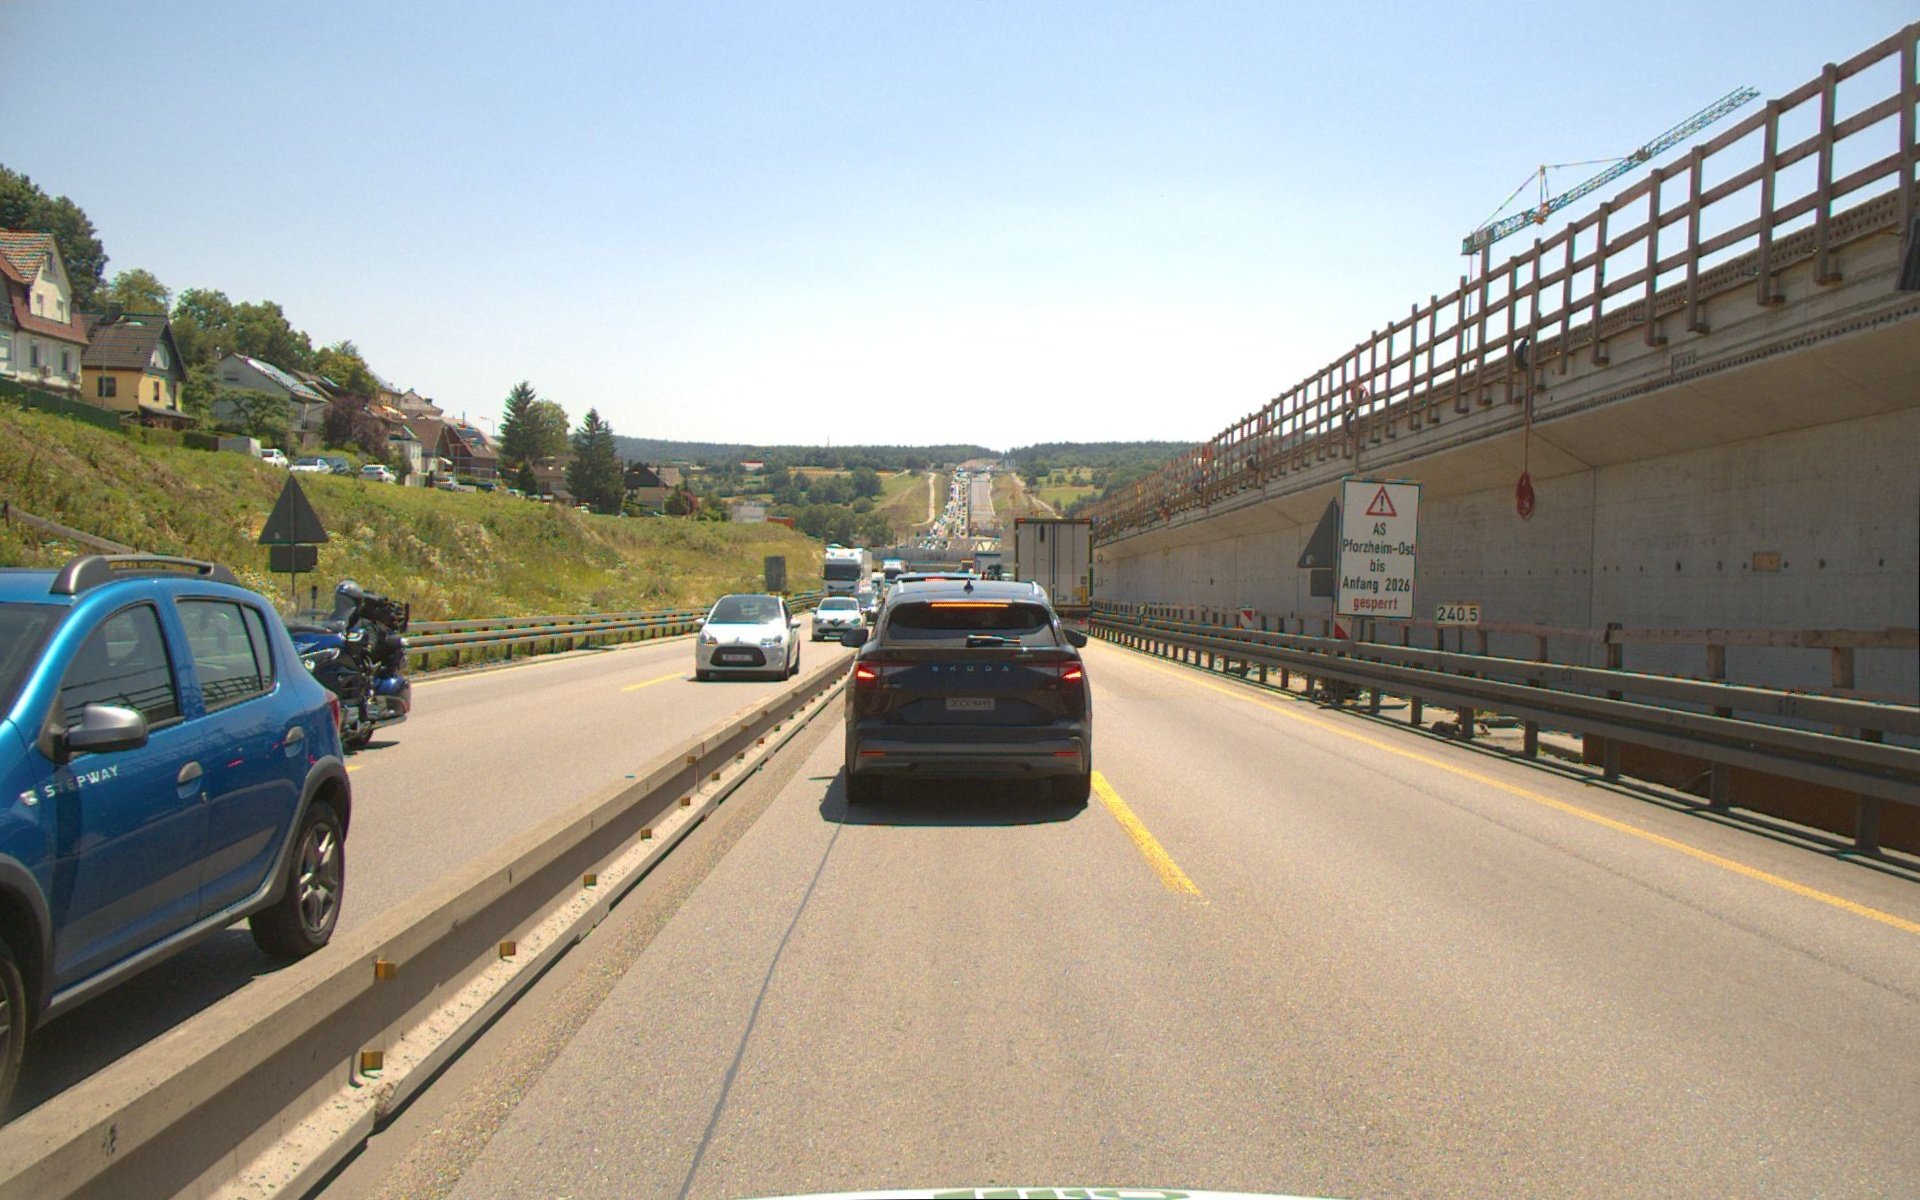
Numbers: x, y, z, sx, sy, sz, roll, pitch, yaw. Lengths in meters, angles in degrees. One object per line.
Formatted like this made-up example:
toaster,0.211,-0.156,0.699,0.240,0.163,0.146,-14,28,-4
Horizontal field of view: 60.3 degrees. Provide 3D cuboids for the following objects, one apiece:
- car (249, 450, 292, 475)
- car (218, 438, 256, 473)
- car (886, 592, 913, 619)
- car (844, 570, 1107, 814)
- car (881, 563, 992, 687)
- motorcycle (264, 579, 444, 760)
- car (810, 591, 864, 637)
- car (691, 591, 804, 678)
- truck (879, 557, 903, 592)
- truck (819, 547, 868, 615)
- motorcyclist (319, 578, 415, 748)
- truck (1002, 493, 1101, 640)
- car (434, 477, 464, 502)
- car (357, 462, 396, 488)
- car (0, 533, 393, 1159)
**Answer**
car,-37.259,-7.407,89.393,1.255,1.057,3.270,0,0,-6
car,-36.971,-7.362,84.636,1.704,1.422,3.774,3,0,-23
car,-4.221,0.361,116.138,1.739,1.852,4.433,1,0,-1
car,0.052,0.621,12.966,1.747,1.625,3.754,0,0,-2
car,-0.470,0.411,28.660,1.715,1.928,3.753,3,0,-3
motorcycle,-5.766,0.601,15.933,0.774,1.578,2.621,1,1,-1
car,-4.159,0.466,56.390,1.657,1.512,3.748,0,0,-2
car,-3.903,0.601,30.879,1.731,1.512,3.864,0,0,-2
truck,-8.771,-3.209,211.045,2.697,4.300,8.099,2,1,0
truck,-7.708,-1.165,108.883,3.118,4.312,6.478,1,-1,-5
motorcyclist,-5.739,0.599,16.032,0.652,1.613,0.736,0,-1,-1
truck,3.097,-1.009,59.261,2.788,4.696,11.809,1,-1,0
car,-41.979,-9.056,135.916,1.890,1.758,3.990,0,0,-11
car,-40.951,-8.777,116.168,1.958,1.342,3.989,4,-1,-11
car,-3.382,0.635,5.410,1.728,1.638,3.891,0,0,-1
